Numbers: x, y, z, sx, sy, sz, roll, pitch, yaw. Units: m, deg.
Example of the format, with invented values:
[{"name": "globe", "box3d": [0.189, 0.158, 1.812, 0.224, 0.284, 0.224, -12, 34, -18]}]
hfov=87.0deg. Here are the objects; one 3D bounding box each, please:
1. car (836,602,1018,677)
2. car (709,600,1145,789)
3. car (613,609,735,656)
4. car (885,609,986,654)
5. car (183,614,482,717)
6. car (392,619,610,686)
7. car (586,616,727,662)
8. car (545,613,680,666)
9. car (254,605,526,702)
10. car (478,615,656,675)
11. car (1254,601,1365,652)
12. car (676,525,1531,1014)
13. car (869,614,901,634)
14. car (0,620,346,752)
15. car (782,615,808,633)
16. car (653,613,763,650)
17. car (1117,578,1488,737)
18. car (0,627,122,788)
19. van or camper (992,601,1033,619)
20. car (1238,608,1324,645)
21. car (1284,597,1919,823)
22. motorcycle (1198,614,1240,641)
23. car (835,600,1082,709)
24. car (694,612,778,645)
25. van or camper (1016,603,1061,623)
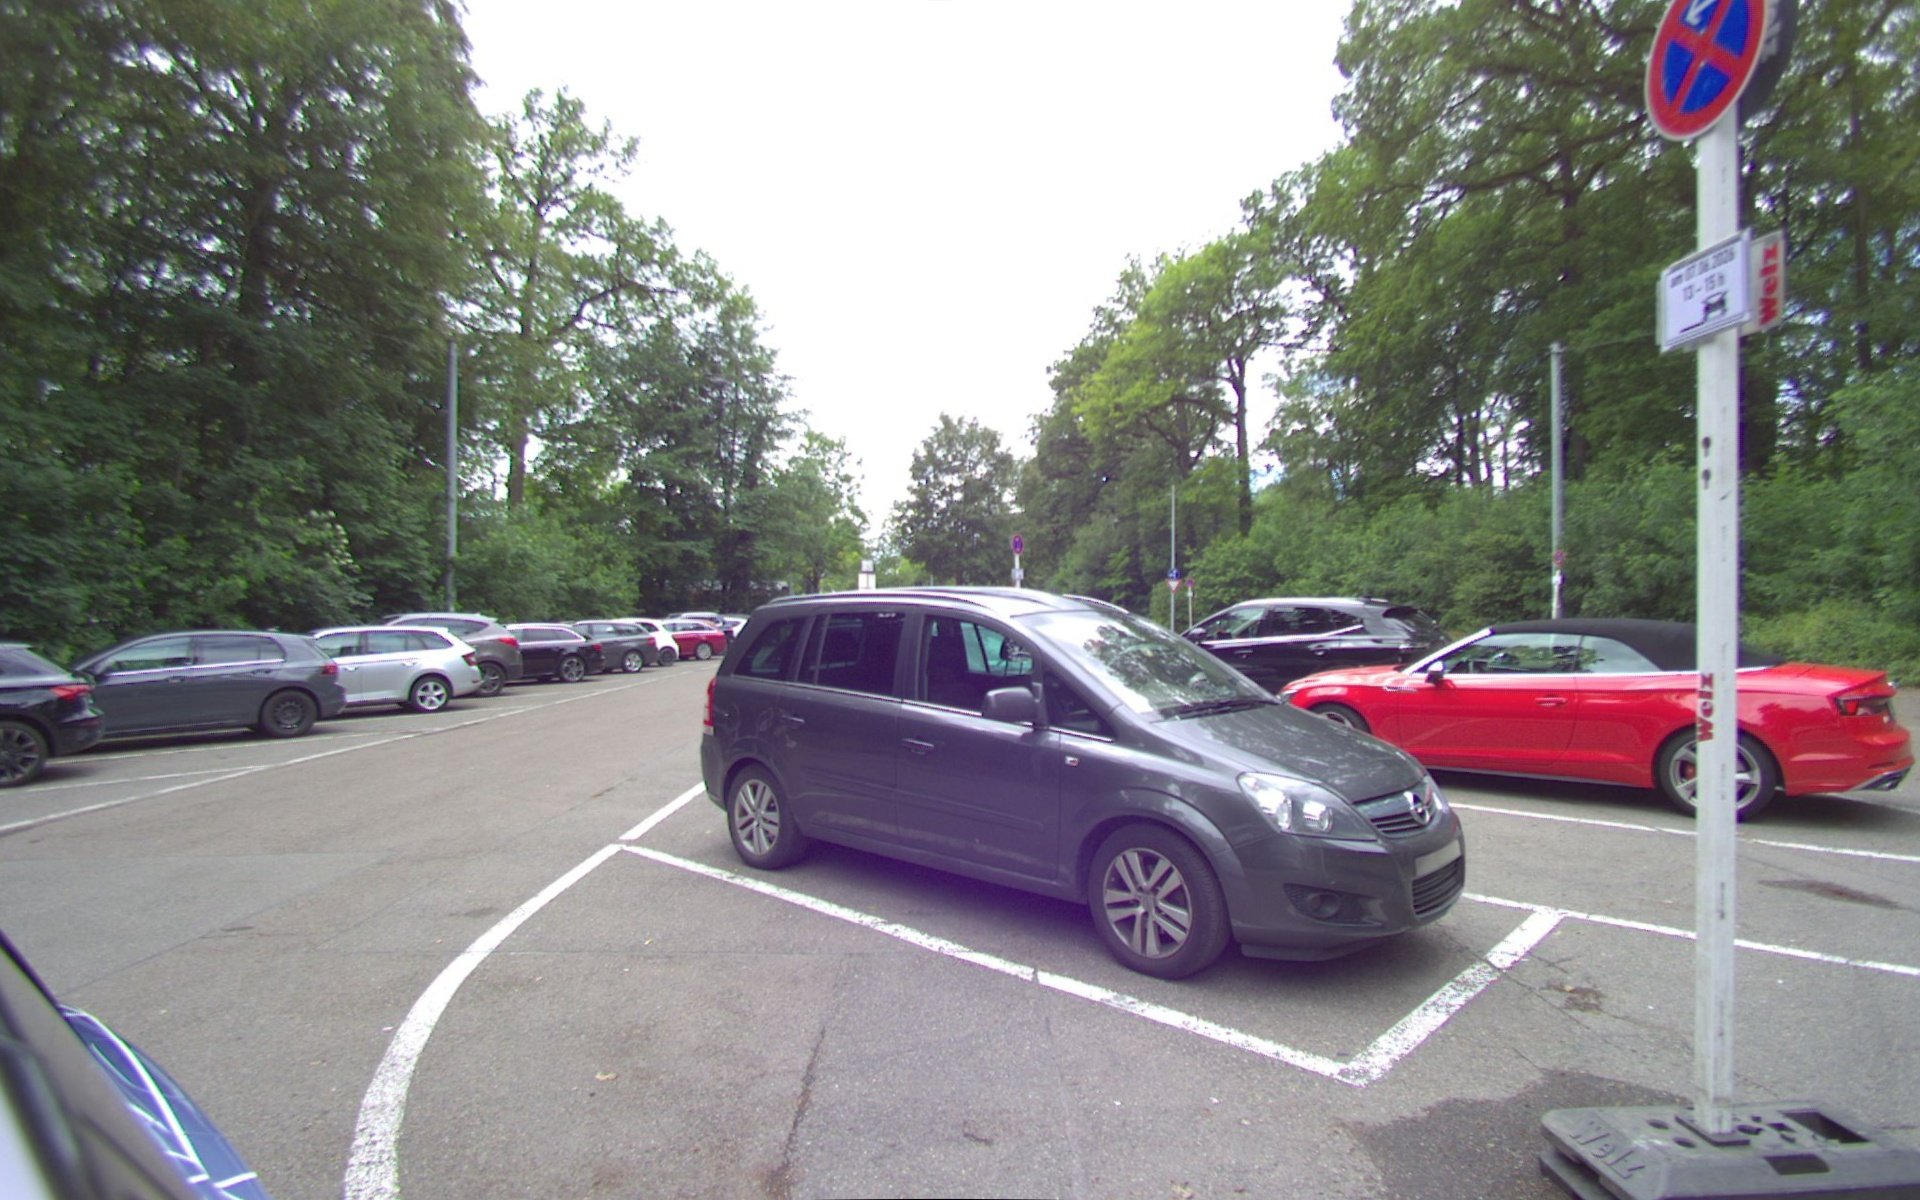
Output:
[{"name": "car", "box3d": [-0.845, 0.899, 23.850, 4.189, 1.609, 1.821, -2, -2, 42]}, {"name": "car", "box3d": [-0.501, 0.773, 9.894, 4.278, 1.454, 1.735, -2, -1, 43]}, {"name": "car", "box3d": [-10.818, 1.205, 38.459, 4.057, 1.630, 1.844, 0, -1, -43]}, {"name": "car", "box3d": [-0.942, 1.174, 37.921, 3.653, 1.597, 1.663, -2, -1, 42]}, {"name": "car", "box3d": [-10.201, 0.993, 16.608, 3.938, 1.478, 1.838, 1, -2, -41]}, {"name": "car", "box3d": [-10.587, 1.155, 23.562, 1.965, 1.388, 4.203, -2, -1, 42]}, {"name": "car", "box3d": [-10.424, 1.292, 34.873, 4.230, 1.424, 1.930, 0, -1, -42]}, {"name": "car", "box3d": [-10.592, 1.160, 30.986, 3.529, 1.516, 1.736, 0, -1, -44]}, {"name": "car", "box3d": [-10.850, 0.934, 19.465, 1.966, 1.649, 4.201, -2, -1, 44]}, {"name": "car", "box3d": [-10.519, 1.166, 27.286, 1.805, 1.468, 4.126, -2, -1, 44]}, {"name": "car", "box3d": [13.096, 0.947, 37.804, 2.113, 1.780, 4.640, -2, -2, 45]}, {"name": "car", "box3d": [0.425, 0.610, 5.536, 4.388, 1.621, 1.803, -2, -1, 43]}, {"name": "car", "box3d": [-6.641, 2.146, 89.524, 1.903, 1.682, 4.358, 0, -1, -16]}, {"name": "car", "box3d": [-10.408, 1.011, 13.029, 1.911, 1.433, 3.942, -2, -1, 44]}, {"name": "car", "box3d": [-15.500, 2.235, 95.005, 1.966, 1.564, 4.011, 0, -1, -15]}, {"name": "car", "box3d": [-10.494, 1.286, 42.248, 4.057, 1.449, 1.872, 0, -1, -43]}, {"name": "car", "box3d": [4.190, 0.648, 12.730, 3.999, 1.676, 1.872, -2, -1, 42]}, {"name": "car", "box3d": [-10.385, 1.028, 9.183, 1.900, 1.473, 4.143, -2, -1, 45]}, {"name": "van or camper", "box3d": [8.884, 1.688, 171.318, 7.219, 2.871, 2.209, 0, -1, -36]}, {"name": "car", "box3d": [13.237, 1.069, 41.657, 1.741, 1.386, 3.941, -2, -1, 45]}, {"name": "car", "box3d": [5.133, 0.720, 8.304, 4.393, 1.404, 1.743, -1, -1, 45]}, {"name": "motorcycle", "box3d": [11.947, 1.267, 46.691, 1.996, 1.217, 0.732, 0, -1, -35]}, {"name": "car", "box3d": [-0.118, 0.856, 16.852, 3.978, 1.599, 1.821, -2, -2, 44]}, {"name": "car", "box3d": [-10.992, 1.396, 49.799, 1.700, 1.503, 3.738, -2, -1, 43]}, {"name": "van or camper", "box3d": [11.528, 1.898, 148.101, 7.226, 2.871, 2.072, 0, -1, -41]}]
